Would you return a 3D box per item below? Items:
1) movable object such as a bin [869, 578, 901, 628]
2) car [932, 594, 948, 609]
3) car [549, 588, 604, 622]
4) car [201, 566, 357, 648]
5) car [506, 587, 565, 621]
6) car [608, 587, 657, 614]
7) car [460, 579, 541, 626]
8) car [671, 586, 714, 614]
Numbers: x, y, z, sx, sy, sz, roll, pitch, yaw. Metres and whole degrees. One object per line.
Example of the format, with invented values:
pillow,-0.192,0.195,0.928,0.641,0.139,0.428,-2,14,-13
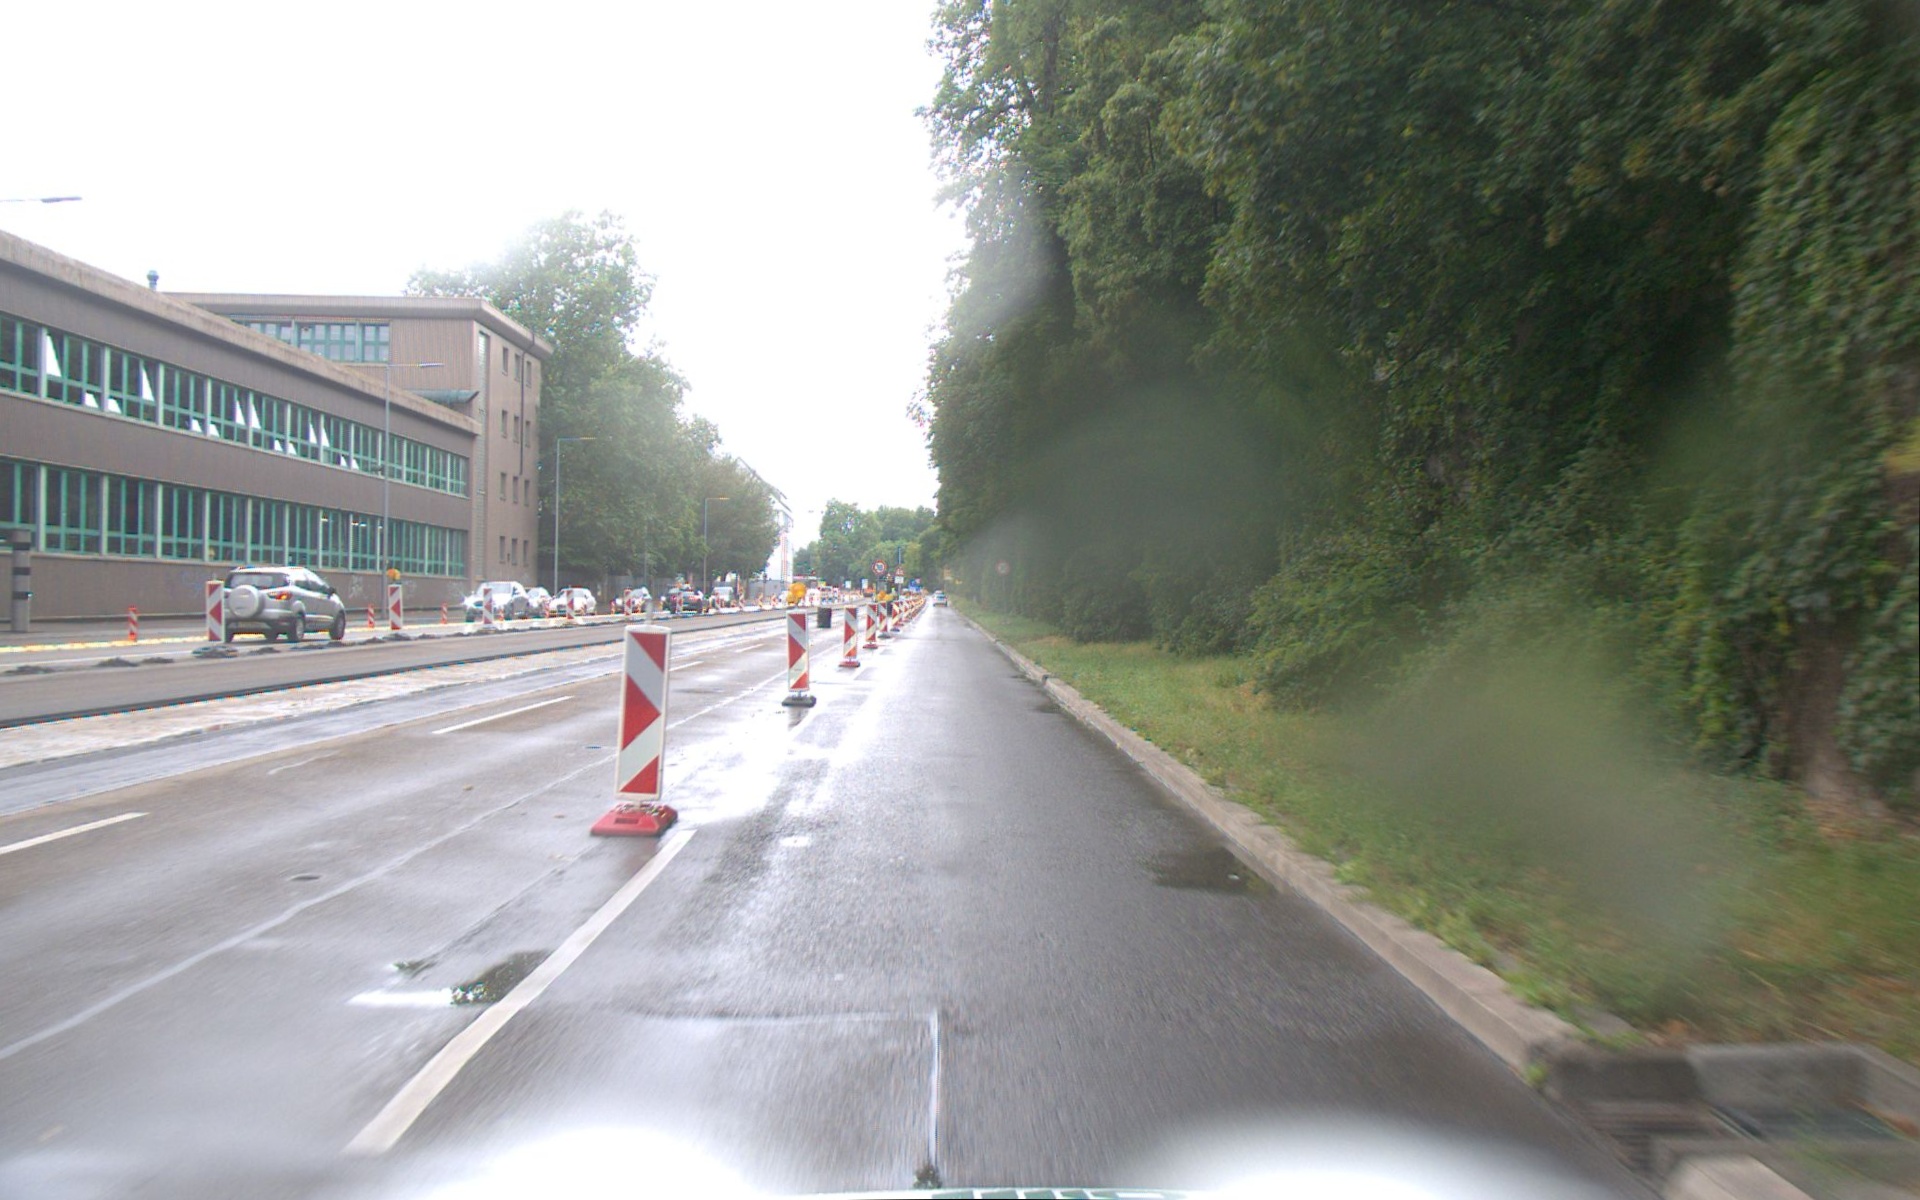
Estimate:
movable object such as a bin,-5.352,0.205,118.936,1.953,3.426,5.981,2,0,-1
car,-2.542,0.203,208.074,1.953,1.702,3.999,2,0,-1
car,-18.758,0.260,80.982,1.767,1.561,3.991,2,0,-1
car,-15.042,0.153,36.782,1.817,1.677,3.999,2,0,-1
car,-21.539,0.211,84.011,1.953,1.614,4.178,2,0,-1
car,-19.279,0.050,97.522,1.855,1.528,4.516,2,0,1
car,-18.813,0.104,67.936,1.948,1.799,4.674,2,0,1
car,-15.721,-0.004,97.390,1.953,1.545,3.999,2,0,-1
